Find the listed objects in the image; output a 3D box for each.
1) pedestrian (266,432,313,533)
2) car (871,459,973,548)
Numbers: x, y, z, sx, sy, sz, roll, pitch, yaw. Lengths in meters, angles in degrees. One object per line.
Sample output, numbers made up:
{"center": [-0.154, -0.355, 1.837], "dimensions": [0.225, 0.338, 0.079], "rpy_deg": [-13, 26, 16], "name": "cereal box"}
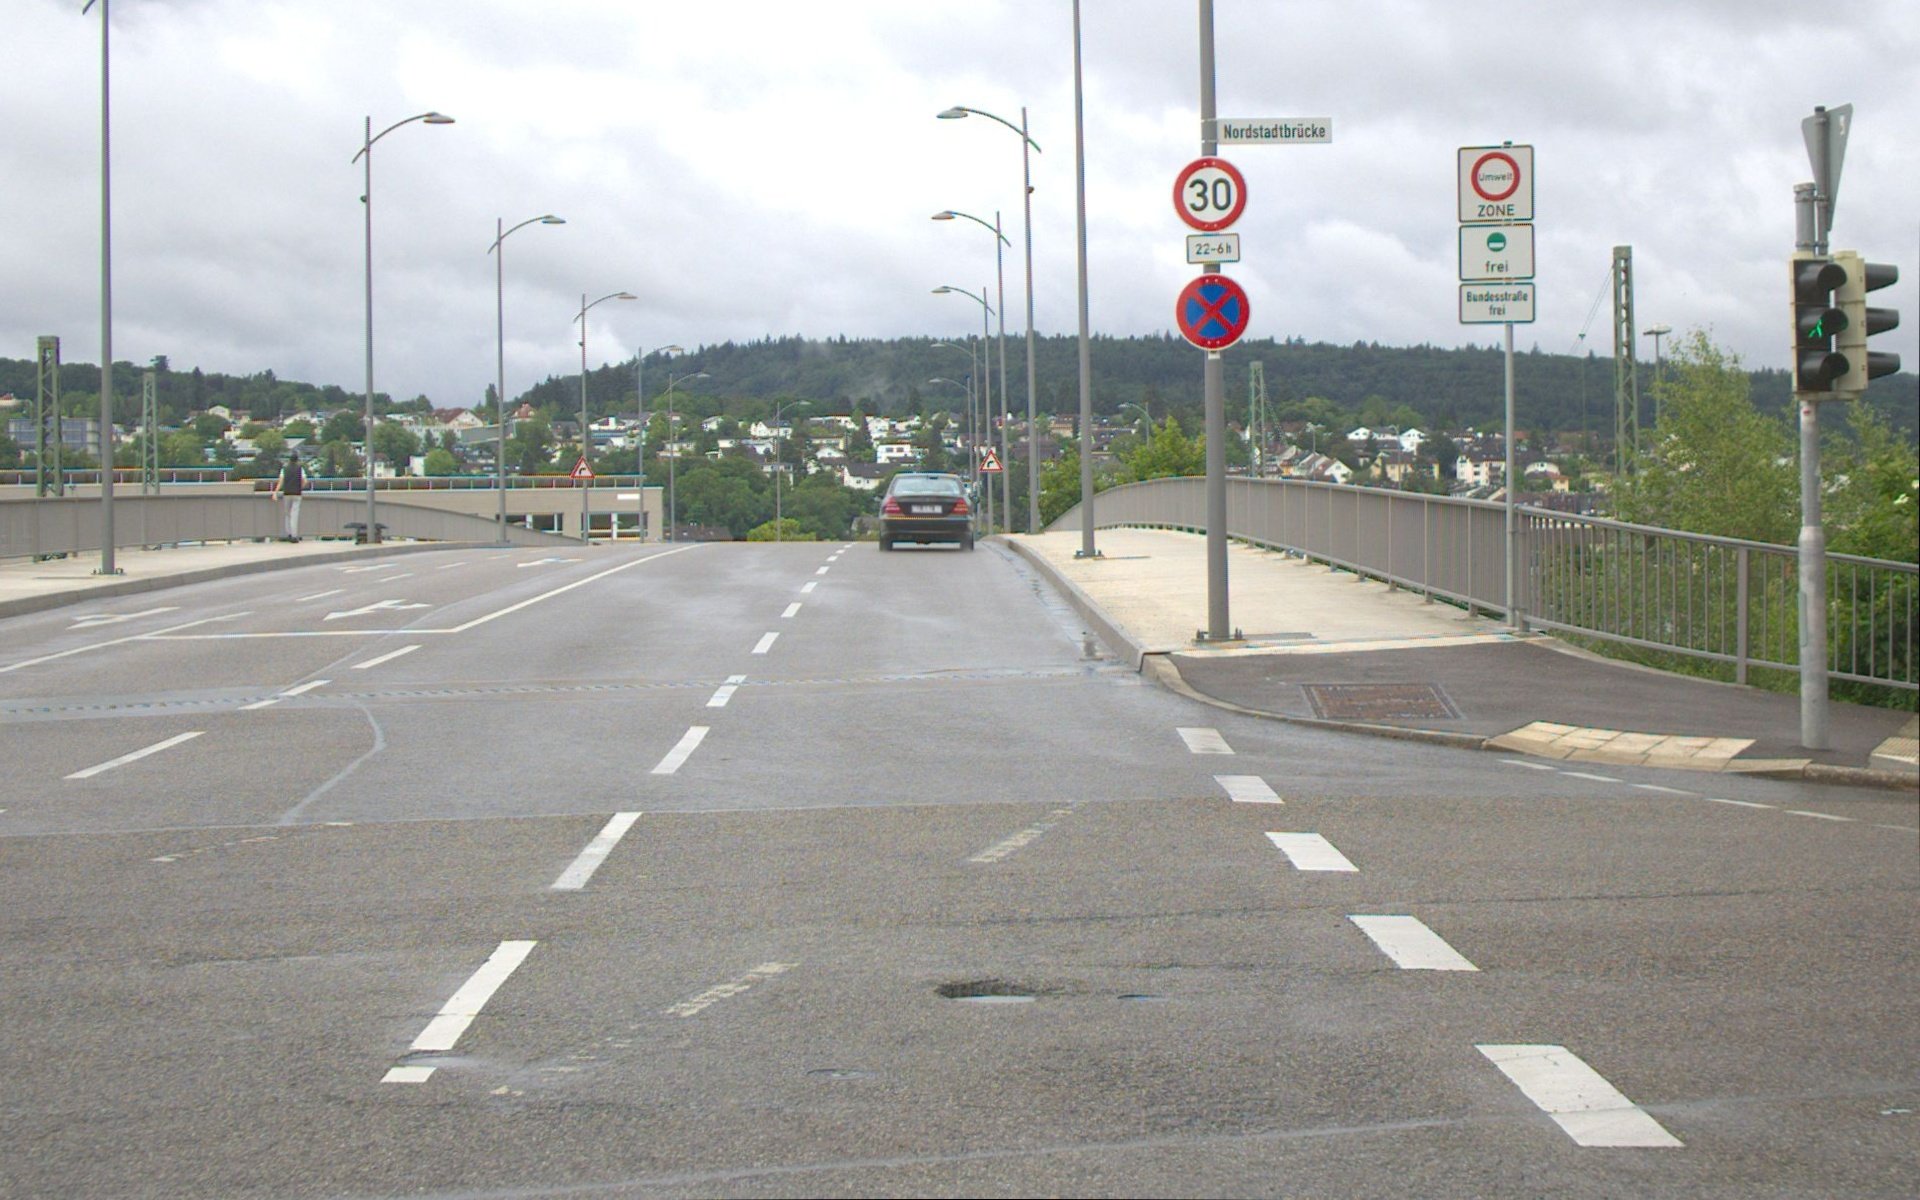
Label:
{"center": [-13.840, -2.415, 71.001], "dimensions": [0.756, 2.041, 0.892], "rpy_deg": [-1, 0, -1], "name": "pedestrian"}
{"center": [-0.682, -1.711, 62.032], "dimensions": [1.754, 1.474, 4.000], "rpy_deg": [-1, 0, 0], "name": "car"}
